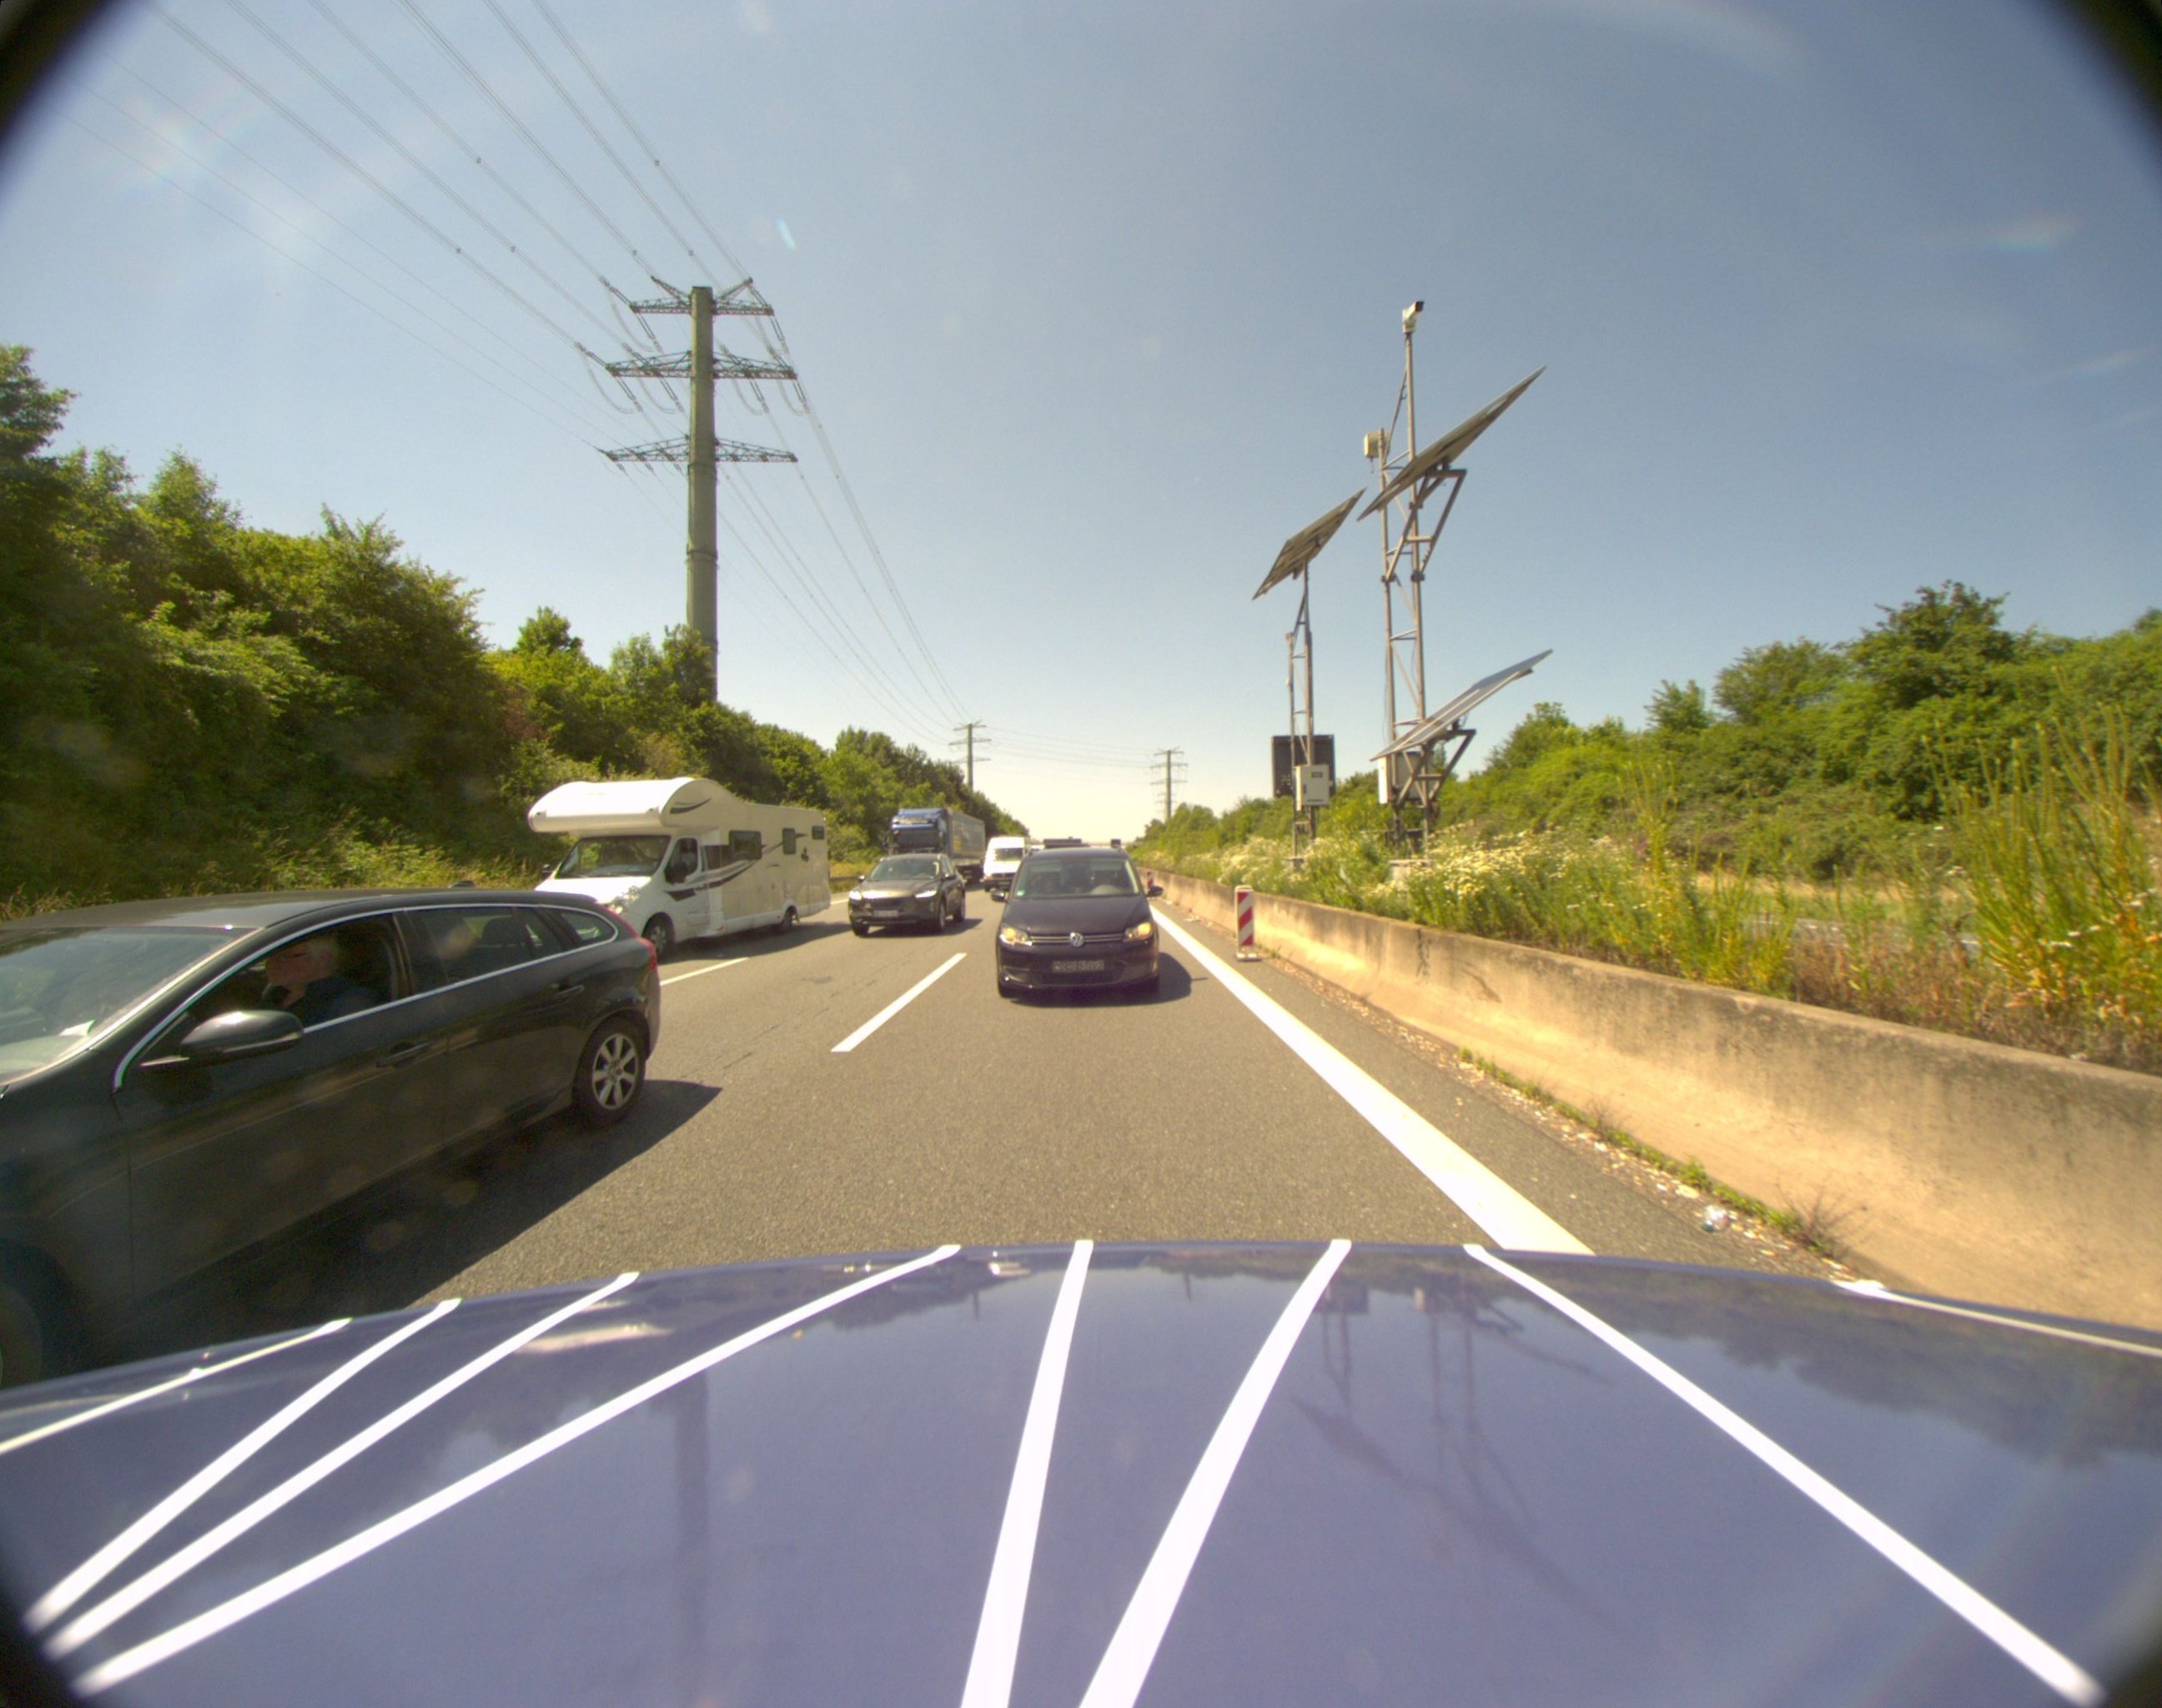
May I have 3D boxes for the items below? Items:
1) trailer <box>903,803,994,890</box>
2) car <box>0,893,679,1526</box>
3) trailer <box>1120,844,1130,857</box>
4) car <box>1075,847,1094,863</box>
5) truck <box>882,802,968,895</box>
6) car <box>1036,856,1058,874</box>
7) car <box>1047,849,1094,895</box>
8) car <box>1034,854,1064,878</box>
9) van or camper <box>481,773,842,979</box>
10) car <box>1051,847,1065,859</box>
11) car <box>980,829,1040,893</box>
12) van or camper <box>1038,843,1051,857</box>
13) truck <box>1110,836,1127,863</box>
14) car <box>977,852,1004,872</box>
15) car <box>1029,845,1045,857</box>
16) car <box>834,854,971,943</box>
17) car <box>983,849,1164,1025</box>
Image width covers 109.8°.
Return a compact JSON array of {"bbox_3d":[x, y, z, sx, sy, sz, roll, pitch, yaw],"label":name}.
[{"bbox_3d":[-7.387,-0.450,44.665,2.774,4.239,12.877,-2,1,1],"label":"trailer"},{"bbox_3d":[-3.650,1.023,2.829,1.799,1.411,4.509,-2,1,1],"label":"car"},{"bbox_3d":[15.555,-1.200,268.291,2.967,4.378,12.904,-2,1,1],"label":"trailer"},{"bbox_3d":[0.437,0.096,84.335,1.973,1.682,3.874,-2,1,1],"label":"car"},{"bbox_3d":[-7.497,-0.288,37.275,2.792,4.121,5.636,-2,1,1],"label":"truck"},{"bbox_3d":[-3.073,0.992,69.900,1.720,1.510,3.874,-2,1,1],"label":"car"},{"bbox_3d":[-0.353,0.654,30.515,1.700,1.641,4.219,-2,1,1],"label":"car"},{"bbox_3d":[-2.149,0.799,51.964,1.720,1.510,3.874,-2,1,1],"label":"car"},{"bbox_3d":[-7.523,0.293,15.246,2.374,3.026,7.634,-2,1,5],"label":"van or camper"},{"bbox_3d":[-3.300,-0.131,108.138,1.720,1.510,3.874,-2,1,1],"label":"car"},{"bbox_3d":[-3.296,0.270,36.622,2.042,2.703,6.705,-2,1,1],"label":"car"},{"bbox_3d":[-6.654,-0.775,137.999,1.978,2.511,4.369,-2,1,1],"label":"van or camper"},{"bbox_3d":[4.813,-0.633,97.530,1.892,3.264,5.590,-2,1,1],"label":"truck"},{"bbox_3d":[-7.667,0.650,64.643,1.720,1.510,3.874,-2,1,1],"label":"car"},{"bbox_3d":[-5.957,-0.468,103.362,1.720,1.510,3.874,-2,1,1],"label":"car"},{"bbox_3d":[-3.750,0.851,16.749,1.893,1.602,4.219,-2,1,1],"label":"car"},{"bbox_3d":[-0.037,0.799,9.511,1.700,1.641,4.219,-2,1,1],"label":"car"}]
